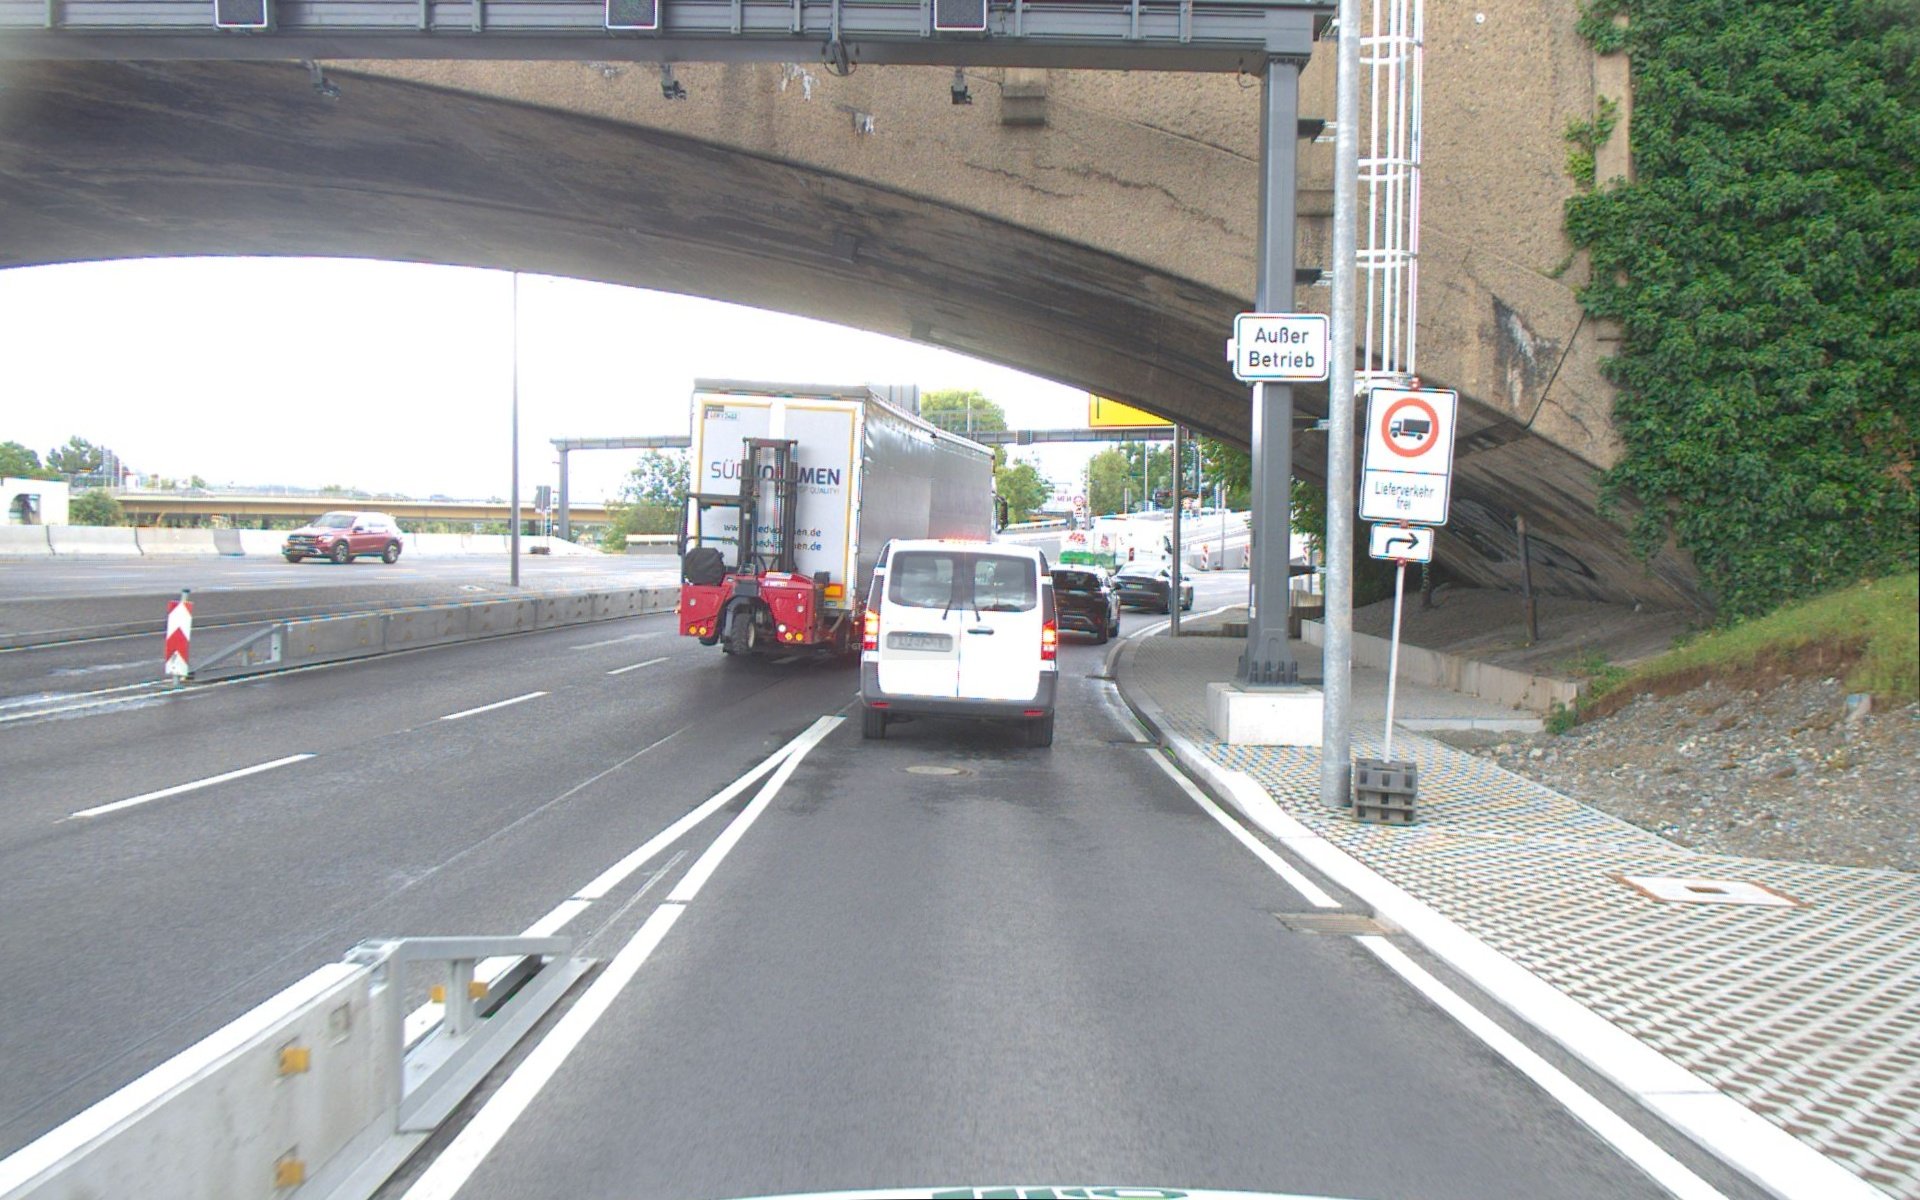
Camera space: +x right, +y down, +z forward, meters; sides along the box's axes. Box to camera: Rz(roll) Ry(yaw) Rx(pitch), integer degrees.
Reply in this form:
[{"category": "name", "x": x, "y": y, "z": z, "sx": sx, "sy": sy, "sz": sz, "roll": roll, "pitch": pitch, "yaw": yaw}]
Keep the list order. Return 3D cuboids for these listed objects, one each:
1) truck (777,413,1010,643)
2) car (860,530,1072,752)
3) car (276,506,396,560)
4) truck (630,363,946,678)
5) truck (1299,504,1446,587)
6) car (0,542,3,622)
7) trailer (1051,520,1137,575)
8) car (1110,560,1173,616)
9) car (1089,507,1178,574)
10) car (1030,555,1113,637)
[{"category": "truck", "x": -1.118, "y": -1.545, "z": 37.092, "sx": 2.924, "sy": 4.248, "sz": 11.252, "roll": 3, "pitch": 2, "yaw": 9}, {"category": "car", "x": 0.085, "y": 0.339, "z": 17.097, "sx": 1.837, "sy": 1.924, "sz": 4.754, "roll": 2, "pitch": 1, "yaw": 1}, {"category": "car", "x": -20.058, "y": -2.165, "z": 53.318, "sx": 1.662, "sy": 1.644, "sz": 4.001, "roll": 3, "pitch": 3, "yaw": 13}, {"category": "truck", "x": -2.370, "y": -1.224, "z": 27.216, "sx": 2.856, "sy": 4.086, "sz": 10.210, "roll": 3, "pitch": 2, "yaw": 6}, {"category": "truck", "x": 22.180, "y": -2.834, "z": 87.812, "sx": 3.255, "sy": 3.875, "sz": 16.566, "roll": 4, "pitch": 3, "yaw": 29}, {"category": "car", "x": -9.890, "y": 0.218, "z": 13.660, "sx": 1.543, "sy": 1.510, "sz": 3.998, "roll": 3, "pitch": 1, "yaw": 1}, {"category": "trailer", "x": 5.254, "y": -2.041, "z": 64.373, "sx": 1.955, "sy": 1.991, "sz": 4.076, "roll": 4, "pitch": 3, "yaw": 25}, {"category": "car", "x": 5.409, "y": -0.346, "z": 49.005, "sx": 1.469, "sy": 1.494, "sz": 3.402, "roll": 4, "pitch": 0, "yaw": 12}, {"category": "car", "x": 7.240, "y": -2.432, "z": 68.544, "sx": 1.954, "sy": 2.585, "sz": 5.171, "roll": 4, "pitch": 3, "yaw": 25}, {"category": "car", "x": 2.492, "y": -0.133, "z": 36.294, "sx": 1.712, "sy": 1.653, "sz": 3.848, "roll": 0, "pitch": 2, "yaw": 5}]
